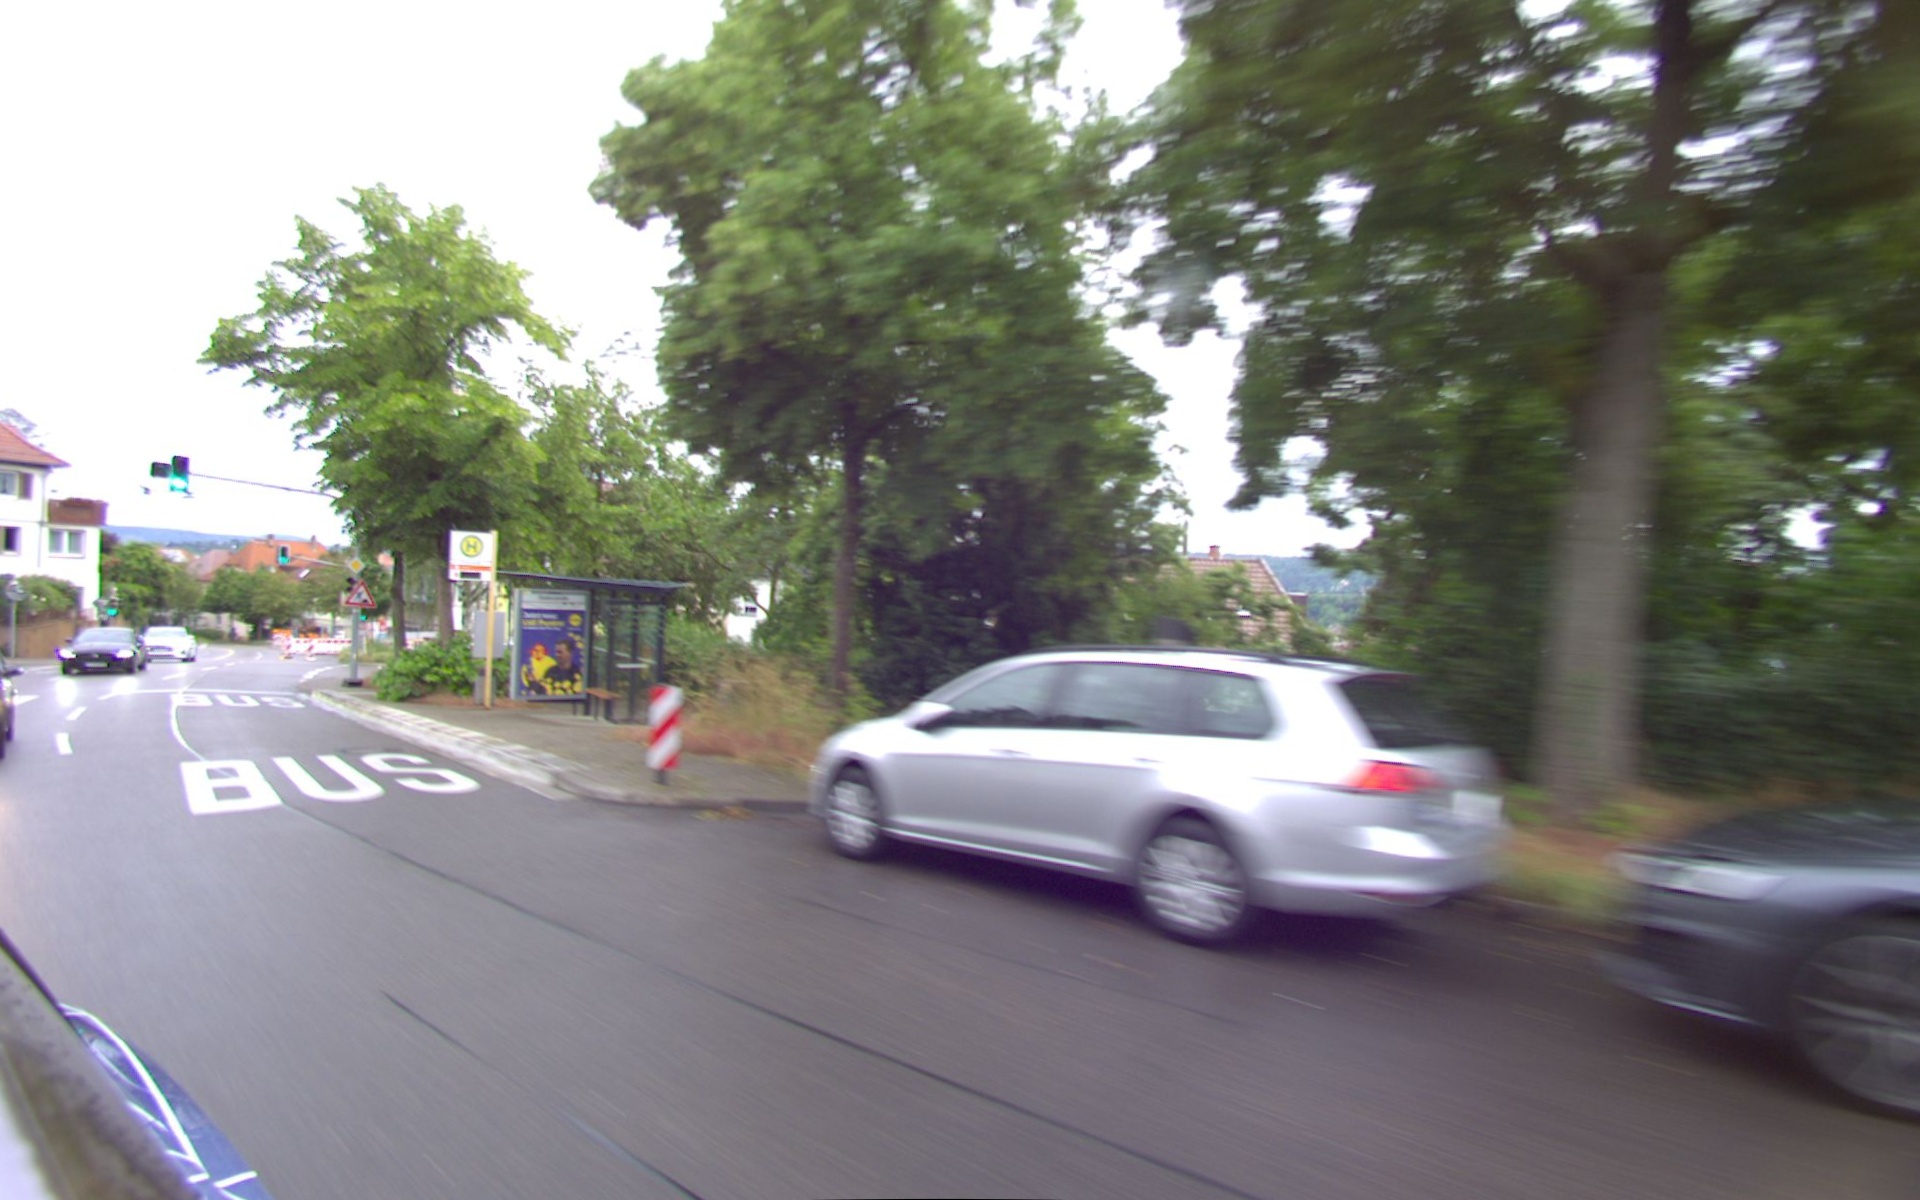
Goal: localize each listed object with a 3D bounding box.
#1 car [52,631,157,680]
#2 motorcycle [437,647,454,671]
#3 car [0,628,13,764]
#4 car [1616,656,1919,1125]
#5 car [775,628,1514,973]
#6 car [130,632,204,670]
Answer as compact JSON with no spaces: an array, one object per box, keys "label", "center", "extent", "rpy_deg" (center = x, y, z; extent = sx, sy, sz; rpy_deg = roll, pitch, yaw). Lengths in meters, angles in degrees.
[{"label":"car","center":[-27.603,1.748,32.784],"extent":[1.998,1.474,4.011],"rpy_deg":[1,-2,-32]},{"label":"motorcycle","center":[-24.573,2.807,48.339],"extent":[0.466,1.153,1.425],"rpy_deg":[4,-4,-37]},{"label":"car","center":[-12.501,1.066,12.027],"extent":[1.778,1.437,4.387],"rpy_deg":[2,-2,-43]},{"label":"car","center":[4.569,0.922,2.772],"extent":[4.497,1.391,1.666],"rpy_deg":[-1,-5,40]},{"label":"car","center":[0.826,0.987,6.371],"extent":[4.375,1.441,1.637],"rpy_deg":[-4,-6,43]},{"label":"car","center":[-36.190,2.298,46.283],"extent":[1.997,1.641,4.241],"rpy_deg":[1,-2,-29]}]
